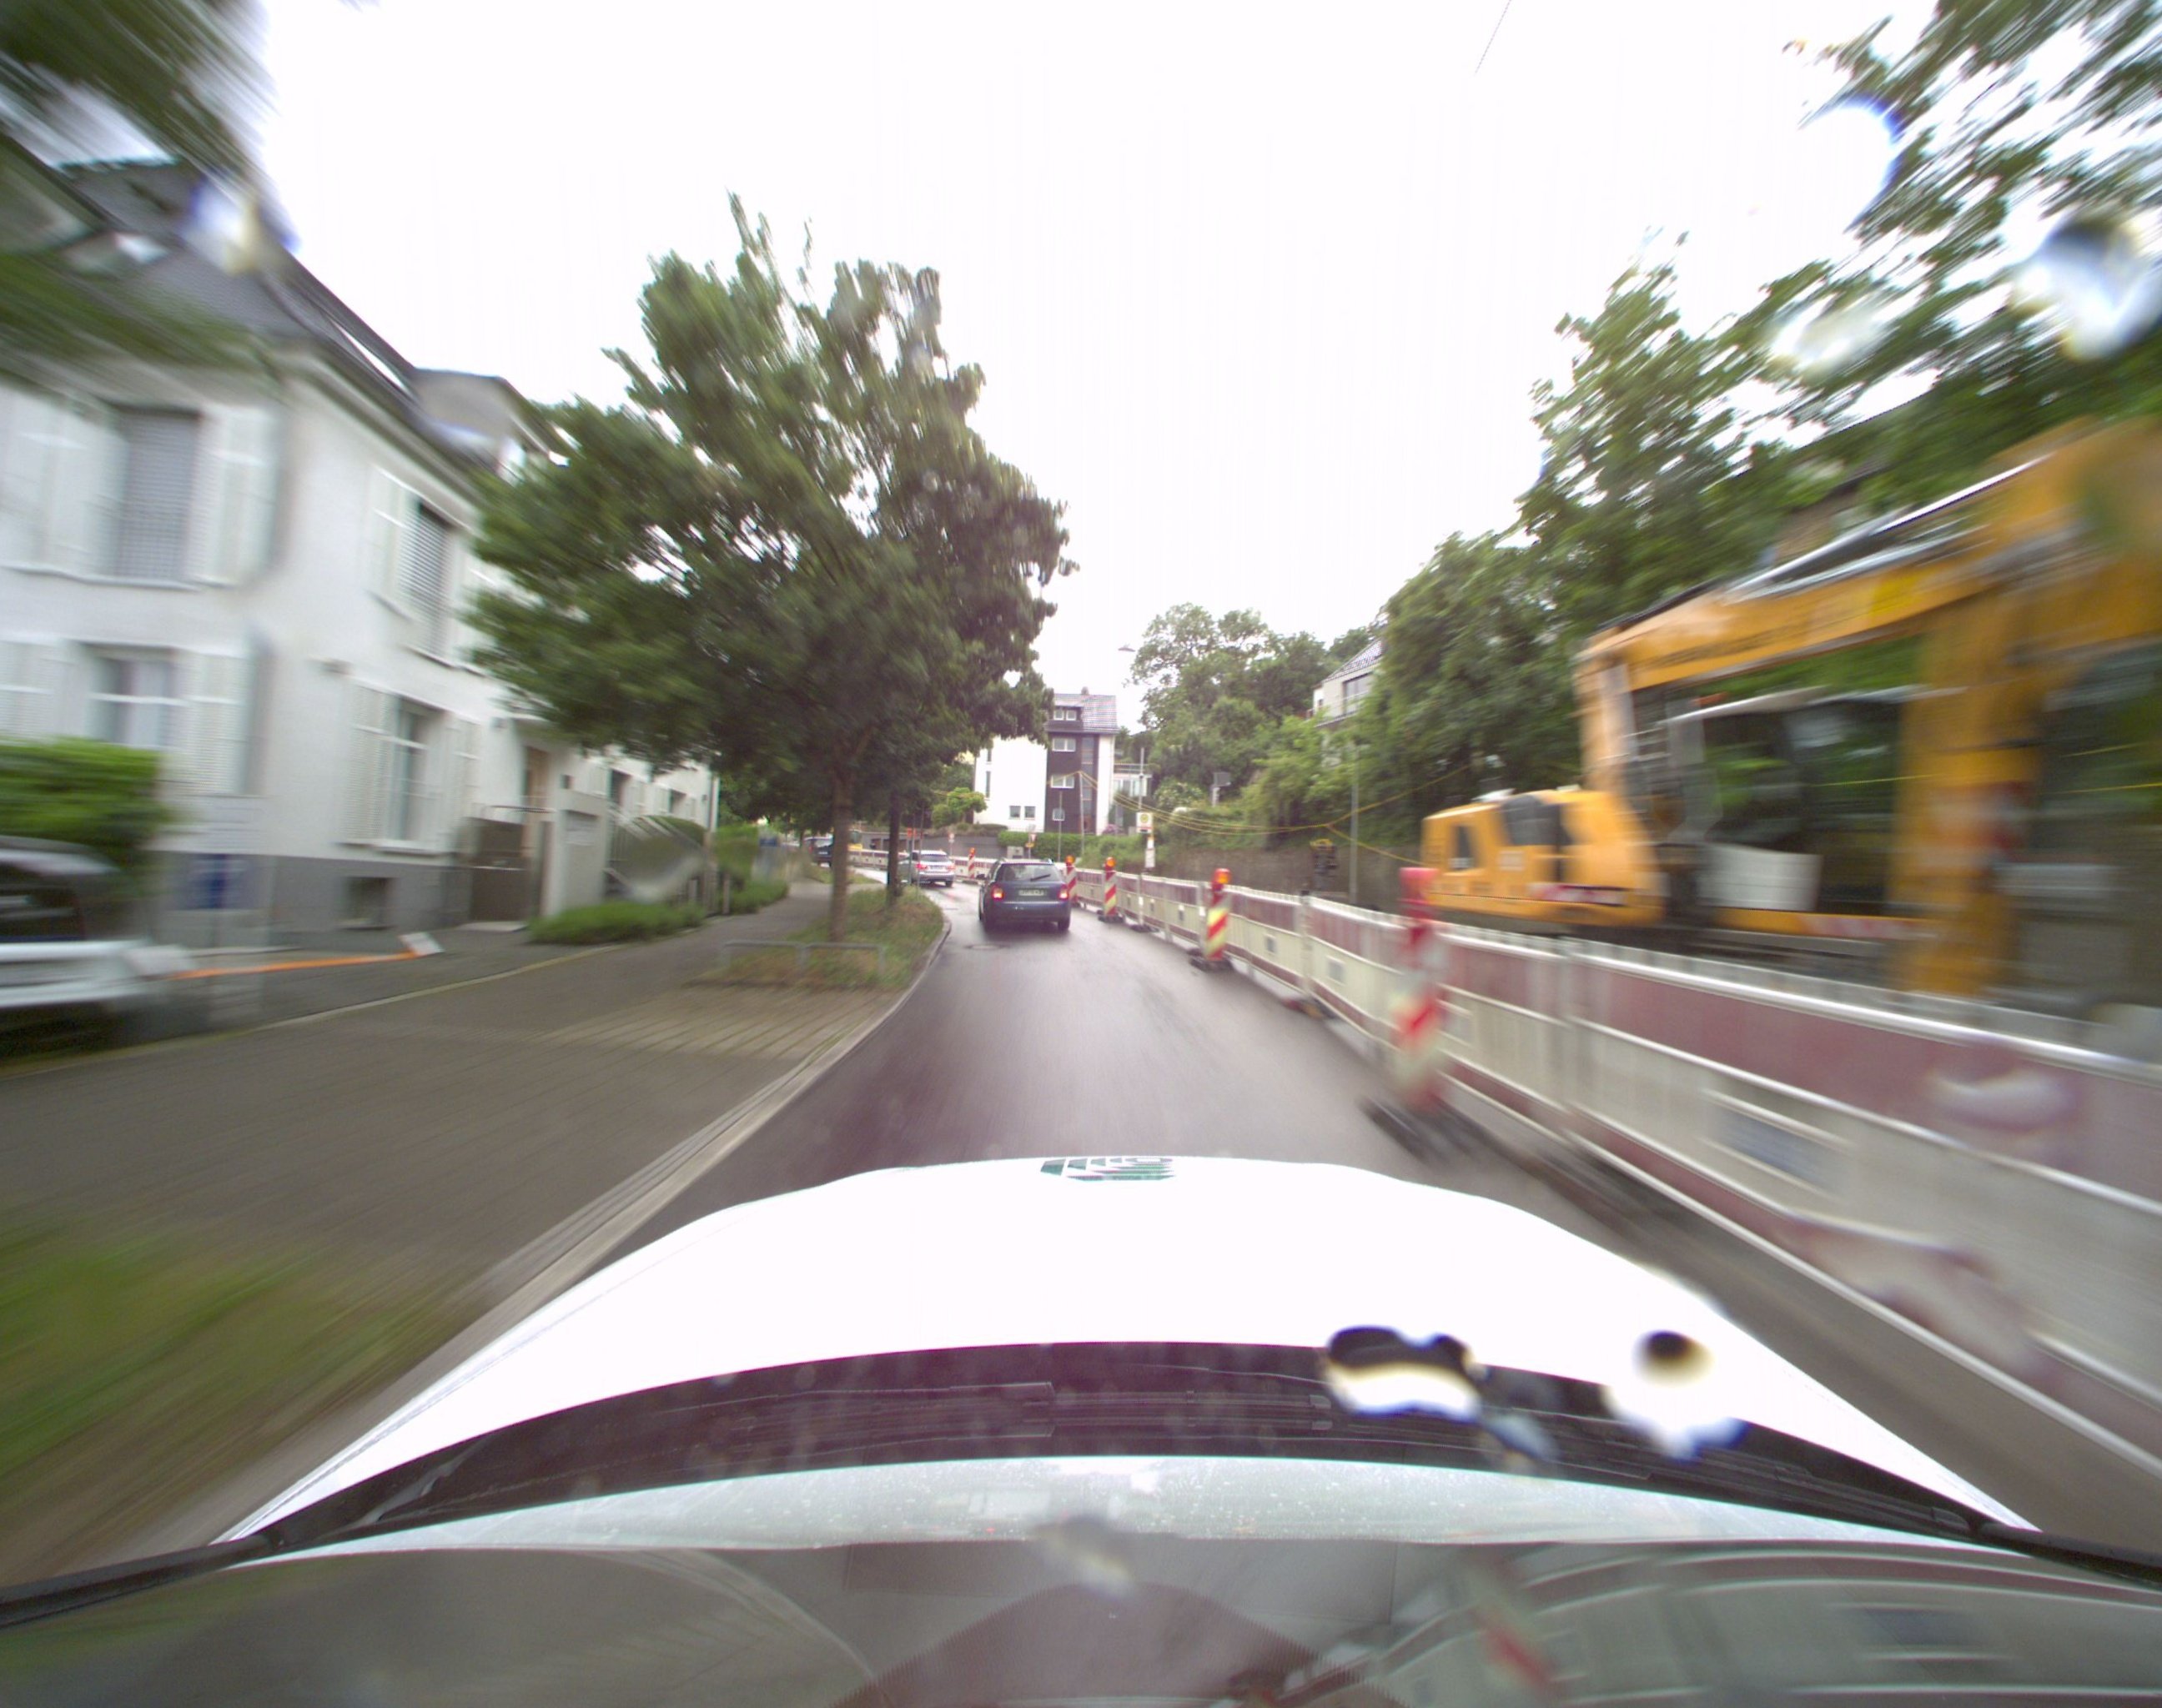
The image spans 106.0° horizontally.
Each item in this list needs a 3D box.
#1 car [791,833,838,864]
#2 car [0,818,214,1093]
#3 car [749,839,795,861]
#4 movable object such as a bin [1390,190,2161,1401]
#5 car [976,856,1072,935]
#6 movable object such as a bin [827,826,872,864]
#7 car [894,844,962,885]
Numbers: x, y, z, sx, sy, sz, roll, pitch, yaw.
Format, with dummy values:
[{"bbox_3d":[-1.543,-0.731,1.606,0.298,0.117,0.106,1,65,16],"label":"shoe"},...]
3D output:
[{"bbox_3d":[-16.624,-0.315,50.682,2.006,1.794,3.962,0,-1,-29],"label":"car"},{"bbox_3d":[-8.128,0.591,4.928,3.970,1.561,1.751,0,-1,3],"label":"car"},{"bbox_3d":[-22.833,-0.300,60.078,1.736,1.486,4.026,0,-2,-44],"label":"car"},{"bbox_3d":[5.005,-0.197,6.309,2.807,4.014,7.333,0,0,3],"label":"movable object such as a bin"},{"bbox_3d":[-1.294,0.788,17.517,1.784,1.442,3.955,-2,0,-6],"label":"car"},{"bbox_3d":[-16.953,-0.673,59.503,2.008,2.613,3.960,0,3,-33],"label":"movable object such as a bin"},{"bbox_3d":[-6.575,0.413,34.581,1.935,1.618,4.287,0,0,-23],"label":"car"}]
